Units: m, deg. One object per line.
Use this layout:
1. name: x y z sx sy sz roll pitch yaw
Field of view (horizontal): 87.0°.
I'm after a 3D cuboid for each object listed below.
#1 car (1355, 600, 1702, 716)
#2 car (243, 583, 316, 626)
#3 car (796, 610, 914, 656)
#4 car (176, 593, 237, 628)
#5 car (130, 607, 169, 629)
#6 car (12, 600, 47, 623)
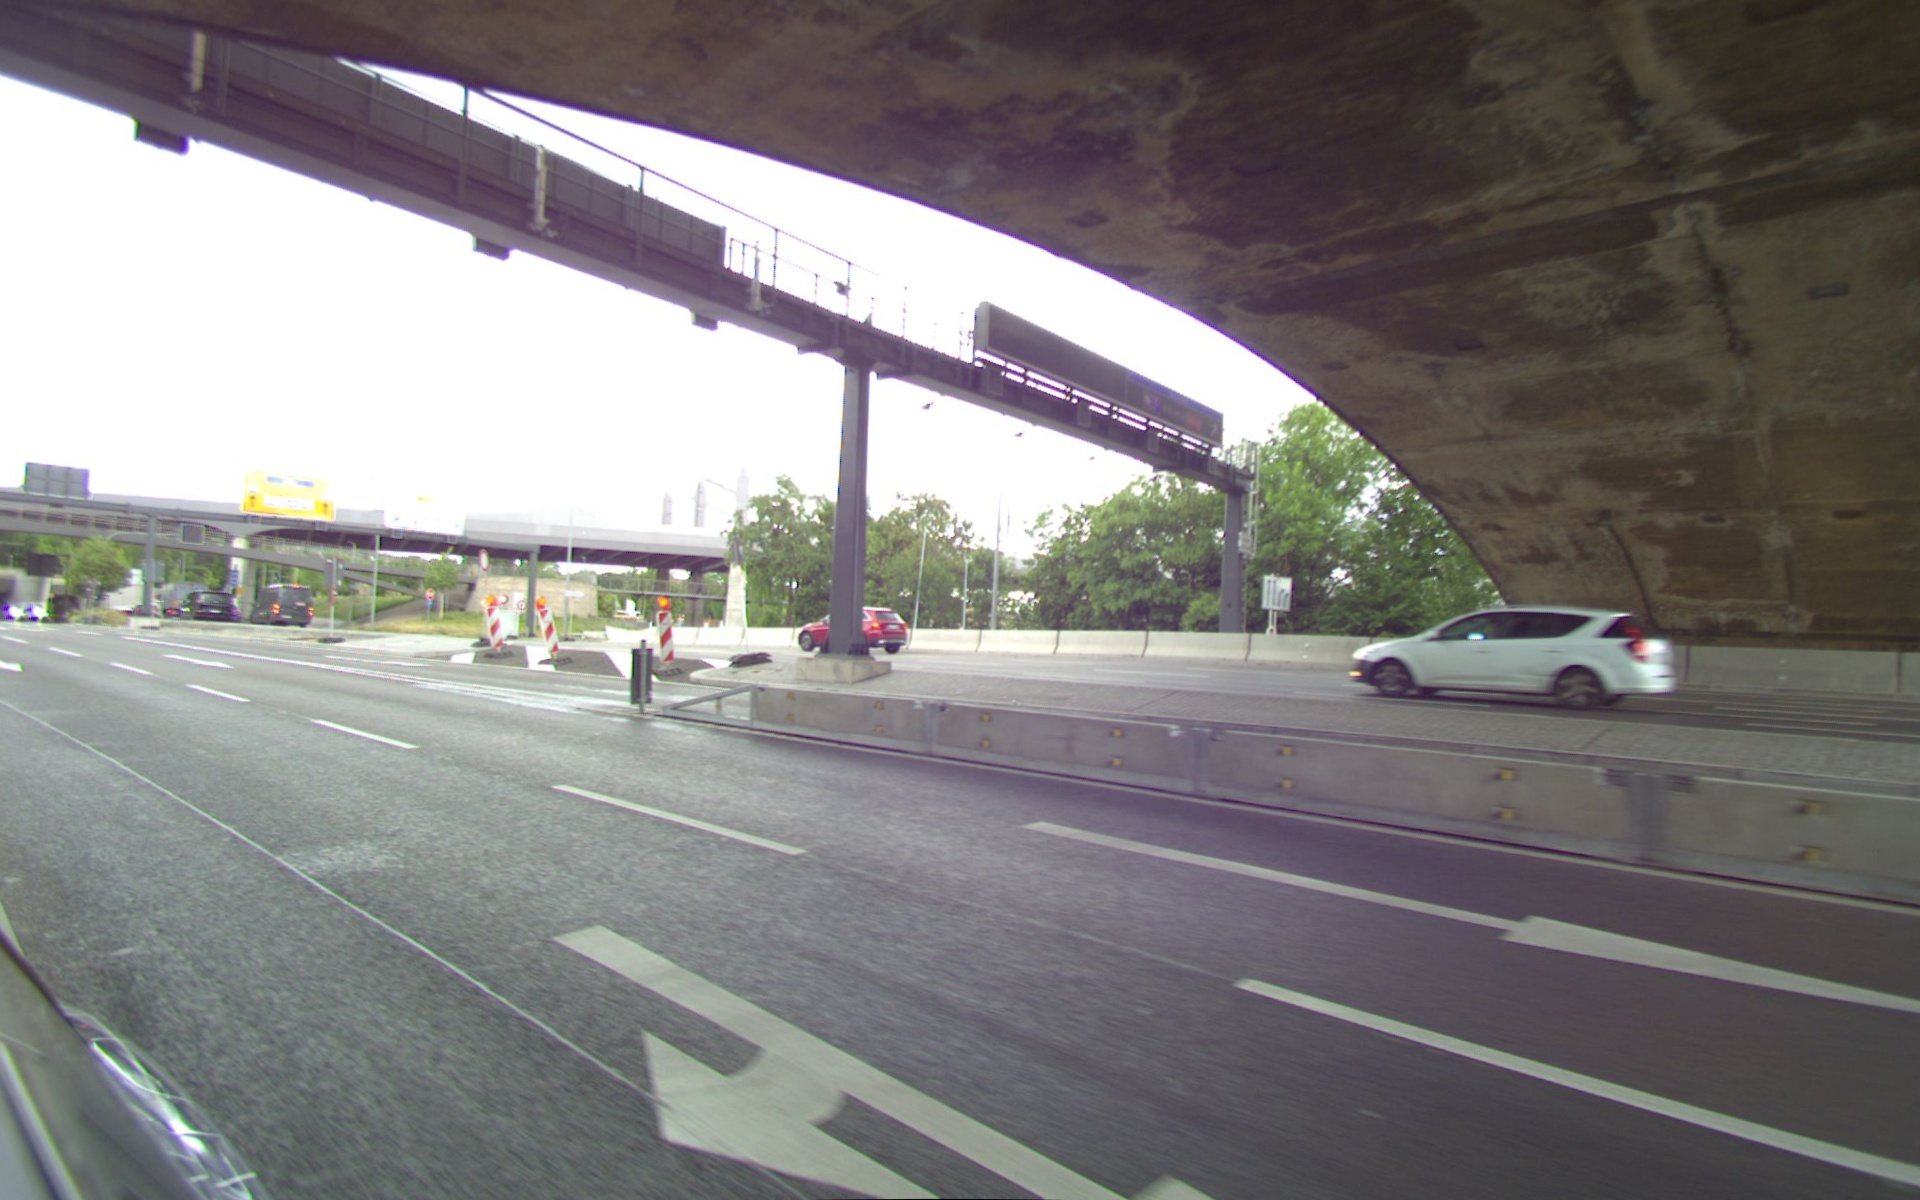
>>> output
1. car: 8.693 0.805 15.747 1.816 1.548 4.403 2 -2 -45
2. car: -41.893 0.308 62.235 6.195 2.509 2.265 0 -2 42
3. car: -3.869 1.160 36.881 4.399 1.548 1.798 0 -2 41
4. car: -44.926 0.616 60.290 4.719 1.990 1.992 0 -2 42
5. car: -63.153 1.389 78.848 1.970 1.663 4.003 -1 0 -44
6. car: -78.124 0.980 85.016 1.839 1.852 4.213 3 -3 -39
